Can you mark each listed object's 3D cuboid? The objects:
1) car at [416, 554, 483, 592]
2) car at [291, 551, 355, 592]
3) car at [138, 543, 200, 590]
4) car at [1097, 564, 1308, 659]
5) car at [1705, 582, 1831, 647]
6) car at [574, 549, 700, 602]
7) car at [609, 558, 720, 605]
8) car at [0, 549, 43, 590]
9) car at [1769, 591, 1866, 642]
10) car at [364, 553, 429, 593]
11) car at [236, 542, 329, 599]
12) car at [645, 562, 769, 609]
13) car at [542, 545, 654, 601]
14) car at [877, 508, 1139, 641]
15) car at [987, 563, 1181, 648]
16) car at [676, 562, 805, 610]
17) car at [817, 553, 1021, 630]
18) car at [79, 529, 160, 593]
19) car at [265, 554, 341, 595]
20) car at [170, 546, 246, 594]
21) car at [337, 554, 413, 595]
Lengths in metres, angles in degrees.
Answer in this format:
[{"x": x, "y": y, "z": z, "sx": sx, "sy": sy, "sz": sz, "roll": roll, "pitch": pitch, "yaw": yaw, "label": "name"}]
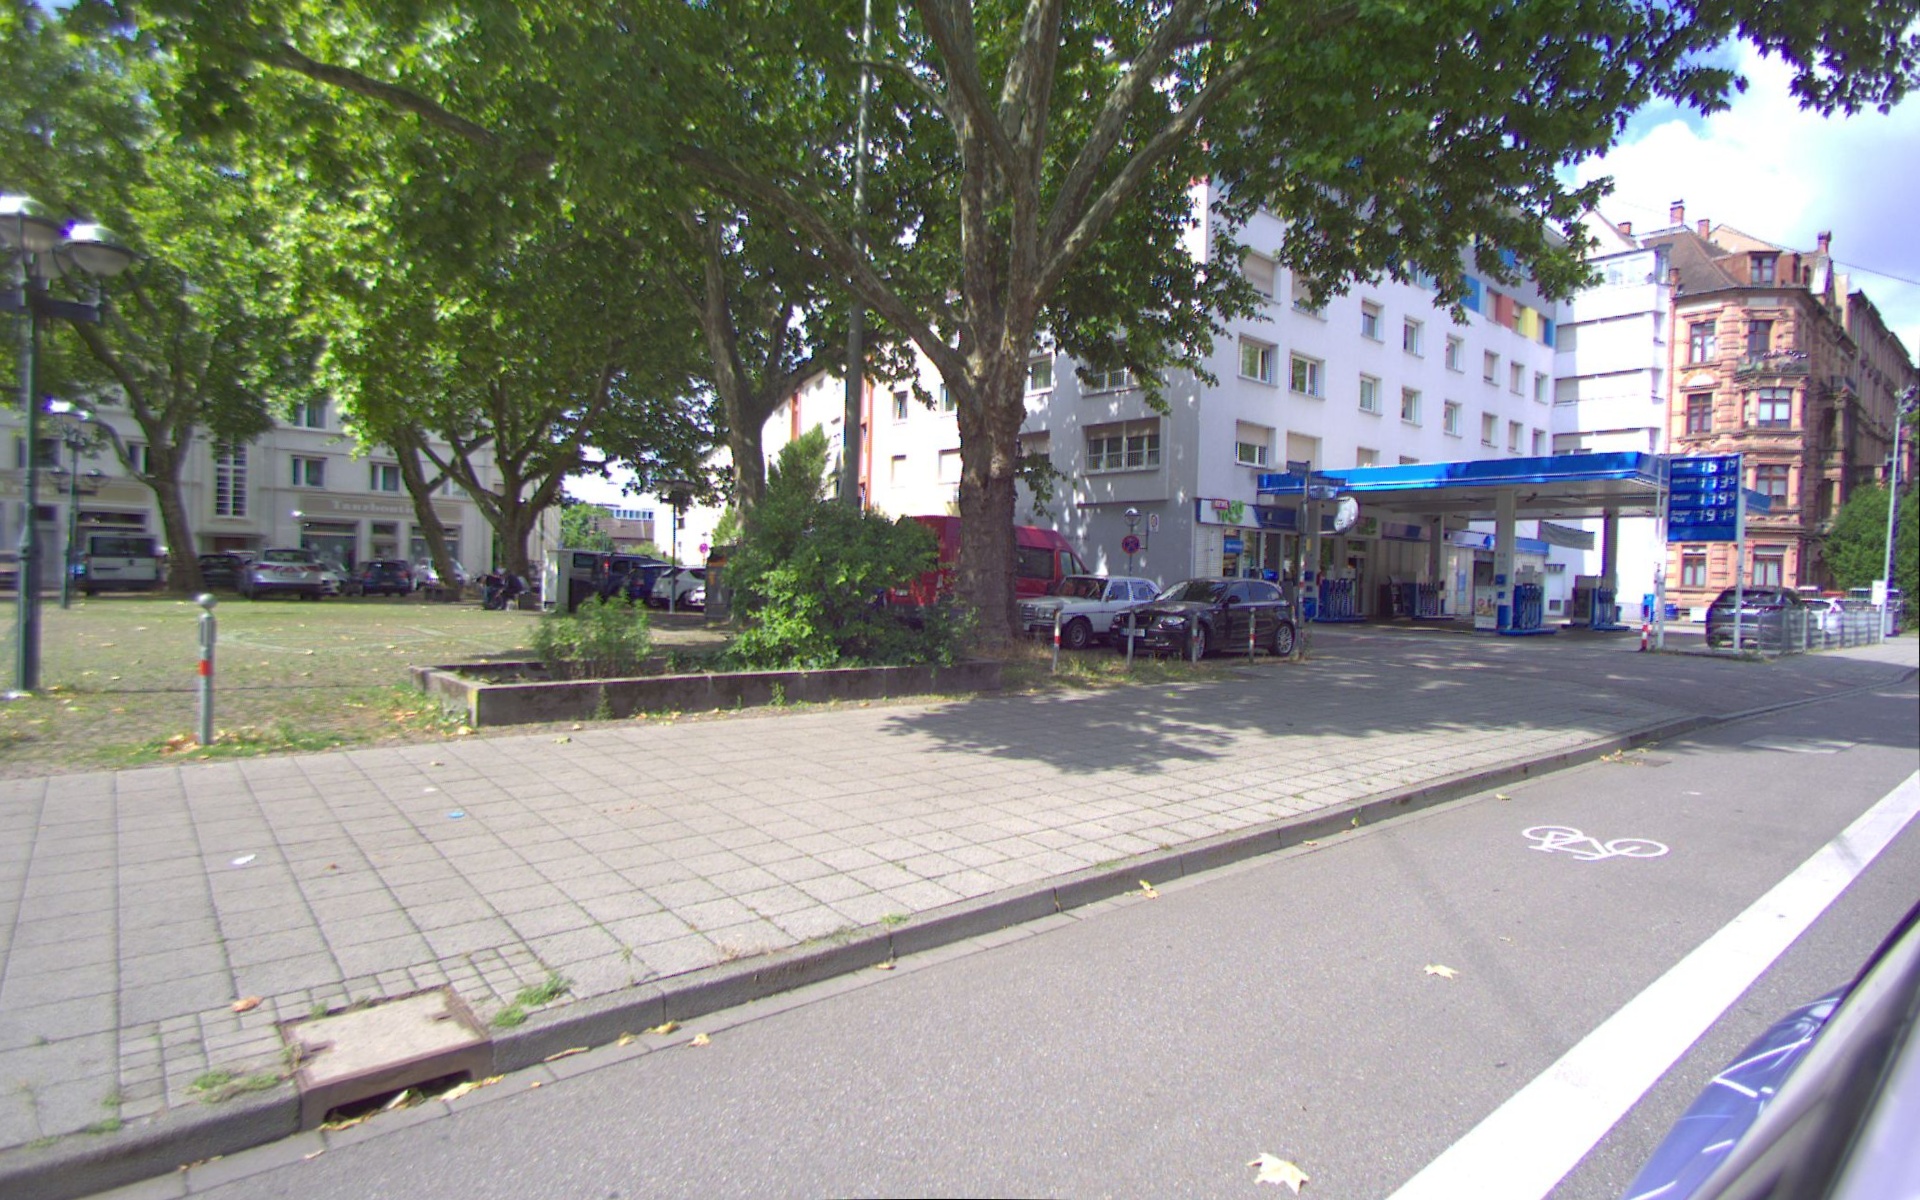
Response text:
[{"x": -26.142, "y": -1.391, "z": 51.745, "sx": 2.151, "sy": 1.827, "sz": 4.757, "roll": 0, "pitch": 2, "yaw": -38, "label": "car"}, {"x": -30.660, "y": -1.384, "z": 48.620, "sx": 2.151, "sy": 1.827, "sz": 4.757, "roll": 0, "pitch": 2, "yaw": -38, "label": "car"}, {"x": -35.038, "y": -1.509, "z": 44.790, "sx": 2.001, "sy": 1.953, "sz": 4.692, "roll": 0, "pitch": 2, "yaw": -40, "label": "car"}, {"x": 4.388, "y": 0.172, "z": 17.997, "sx": 3.973, "sy": 1.488, "sz": 1.651, "roll": 0, "pitch": 2, "yaw": -42, "label": "car"}, {"x": 22.087, "y": 0.371, "z": 27.612, "sx": 4.501, "sy": 1.622, "sz": 1.810, "roll": 0, "pitch": 1, "yaw": -40, "label": "car"}, {"x": -11.735, "y": -0.857, "z": 36.936, "sx": 3.979, "sy": 1.843, "sz": 1.824, "roll": 1, "pitch": 0, "yaw": -43, "label": "car"}, {"x": -10.107, "y": -0.598, "z": 34.733, "sx": 3.320, "sy": 1.527, "sz": 1.600, "roll": 1, "pitch": 0, "yaw": -43, "label": "car"}, {"x": -38.884, "y": -1.284, "z": 41.251, "sx": 2.001, "sy": 1.569, "sz": 4.692, "roll": 0, "pitch": 2, "yaw": -40, "label": "car"}, {"x": 27.260, "y": 0.491, "z": 32.137, "sx": 3.932, "sy": 1.473, "sz": 1.809, "roll": 0, "pitch": 1, "yaw": -41, "label": "car"}, {"x": -28.029, "y": -1.369, "z": 50.272, "sx": 2.151, "sy": 1.827, "sz": 4.695, "roll": 0, "pitch": 2, "yaw": -38, "label": "car"}, {"x": -21.007, "y": -0.928, "z": 31.316, "sx": 1.964, "sy": 1.656, "sz": 4.162, "roll": 0, "pitch": 2, "yaw": -40, "label": "car"}, {"x": -8.209, "y": -0.446, "z": 33.032, "sx": 3.581, "sy": 1.433, "sz": 1.647, "roll": 1, "pitch": 0, "yaw": -43, "label": "car"}, {"x": -13.704, "y": -1.020, "z": 38.386, "sx": 3.581, "sy": 2.012, "sz": 1.825, "roll": 0, "pitch": 2, "yaw": -43, "label": "car"}, {"x": 1.214, "y": -0.526, "z": 22.618, "sx": 5.911, "sy": 2.614, "sz": 2.117, "roll": 1, "pitch": 2, "yaw": -39, "label": "car"}, {"x": 2.523, "y": 0.083, "z": 19.949, "sx": 3.976, "sy": 1.488, "sz": 1.650, "roll": 0, "pitch": 2, "yaw": -44, "label": "car"}, {"x": -6.711, "y": -0.401, "z": 31.180, "sx": 3.581, "sy": 1.380, "sz": 1.582, "roll": 0, "pitch": 0, "yaw": -43, "label": "car"}, {"x": -0.909, "y": -0.179, "z": 24.142, "sx": 4.568, "sy": 1.672, "sz": 2.011, "roll": 1, "pitch": 0, "yaw": -39, "label": "car"}, {"x": -29.097, "y": -1.353, "z": 35.075, "sx": 2.040, "sy": 2.038, "sz": 4.264, "roll": 0, "pitch": 2, "yaw": -40, "label": "car"}, {"x": -24.858, "y": -0.984, "z": 38.239, "sx": 1.924, "sy": 1.439, "sz": 4.174, "roll": 0, "pitch": 2, "yaw": -40, "label": "car"}, {"x": -27.322, "y": -1.112, "z": 36.725, "sx": 1.964, "sy": 1.614, "sz": 4.264, "roll": 0, "pitch": 2, "yaw": -40, "label": "car"}, {"x": -23.608, "y": -1.036, "z": 40.772, "sx": 1.964, "sy": 1.543, "sz": 4.162, "roll": 0, "pitch": 2, "yaw": -40, "label": "car"}]
